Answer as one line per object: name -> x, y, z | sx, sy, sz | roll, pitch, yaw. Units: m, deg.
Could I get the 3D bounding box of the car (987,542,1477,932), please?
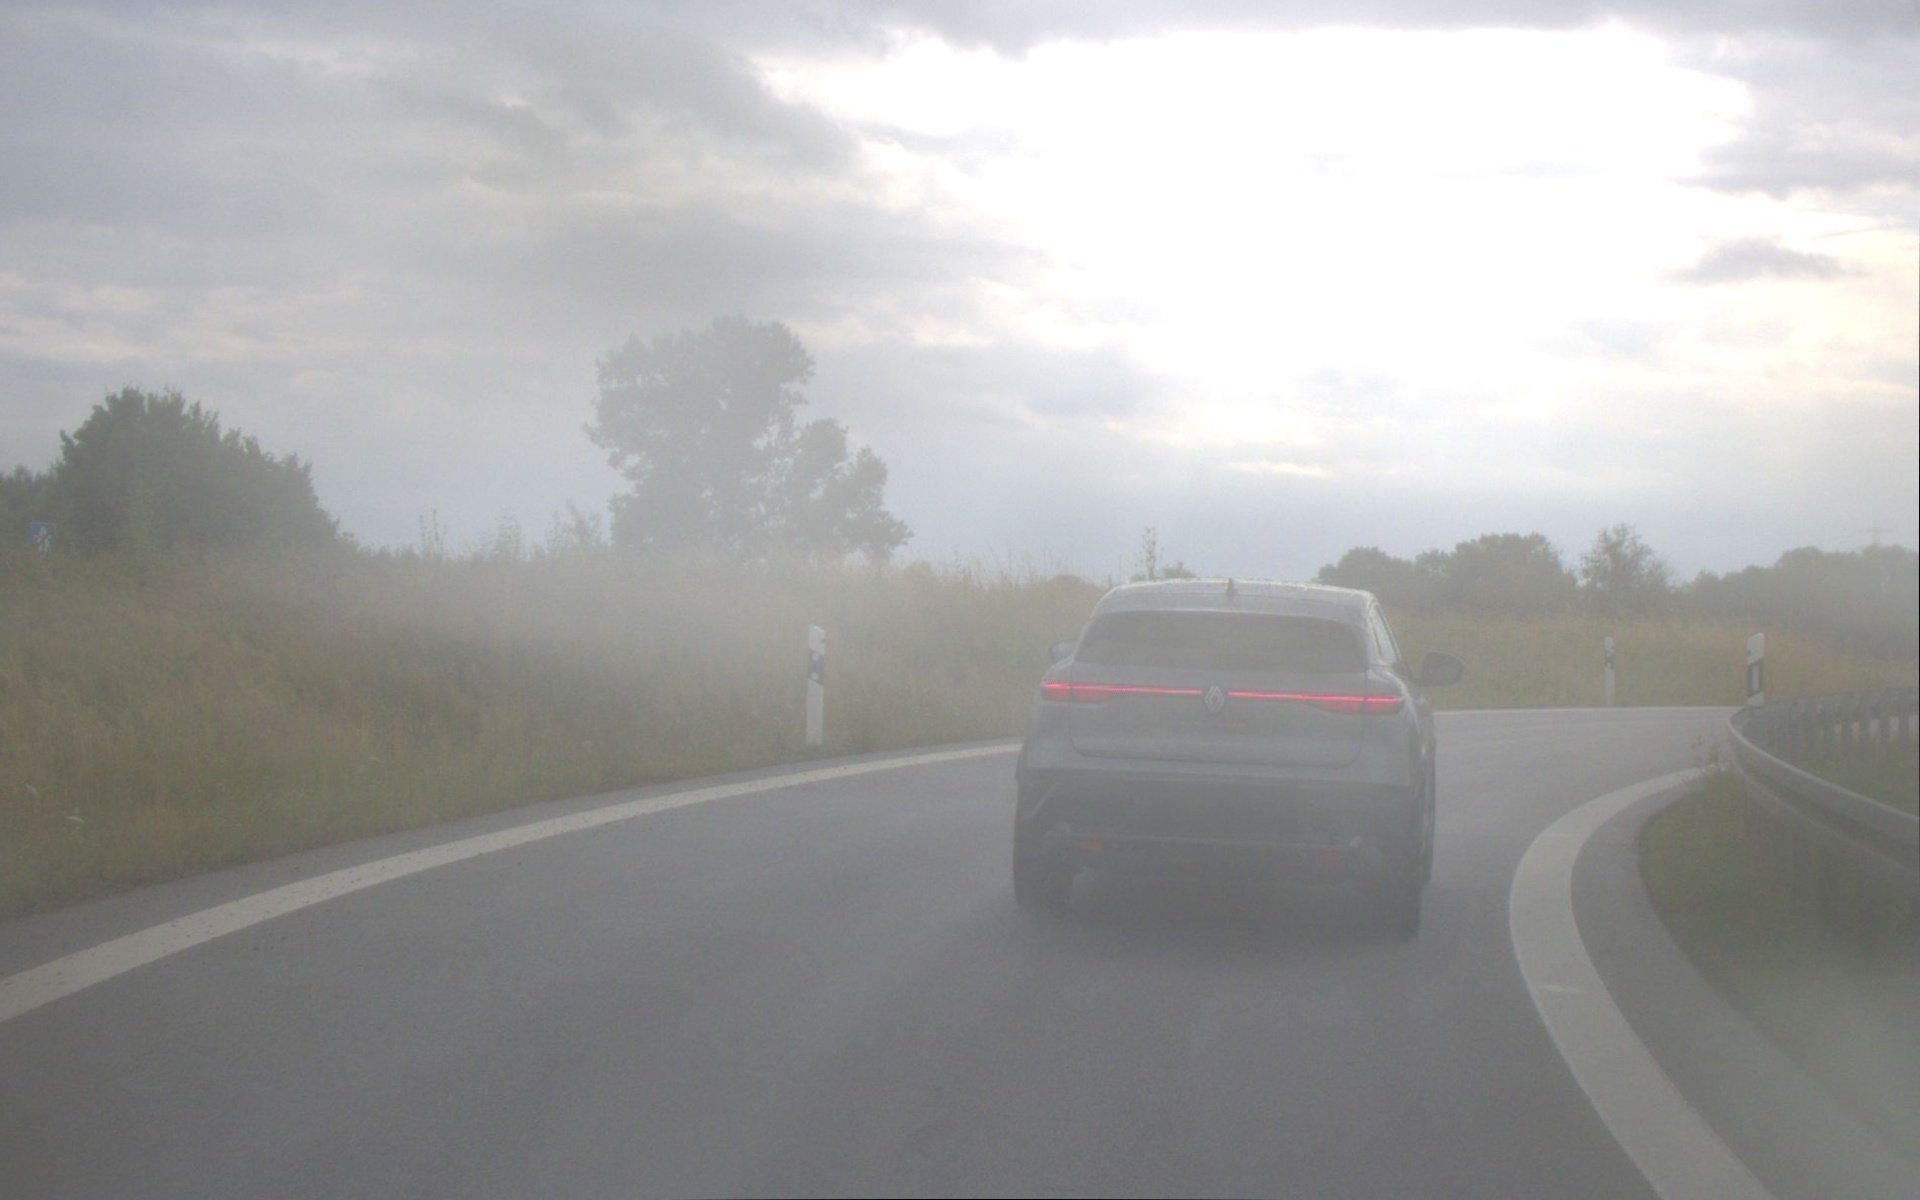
car -> 1.447, 0.552, 16.588 | 1.994, 1.561, 4.147 | 2, 1, 9

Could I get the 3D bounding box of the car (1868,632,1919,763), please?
car -> 16.488, 1.568, 55.131 | 2.125, 2.011, 5.523 | 0, -1, 33
